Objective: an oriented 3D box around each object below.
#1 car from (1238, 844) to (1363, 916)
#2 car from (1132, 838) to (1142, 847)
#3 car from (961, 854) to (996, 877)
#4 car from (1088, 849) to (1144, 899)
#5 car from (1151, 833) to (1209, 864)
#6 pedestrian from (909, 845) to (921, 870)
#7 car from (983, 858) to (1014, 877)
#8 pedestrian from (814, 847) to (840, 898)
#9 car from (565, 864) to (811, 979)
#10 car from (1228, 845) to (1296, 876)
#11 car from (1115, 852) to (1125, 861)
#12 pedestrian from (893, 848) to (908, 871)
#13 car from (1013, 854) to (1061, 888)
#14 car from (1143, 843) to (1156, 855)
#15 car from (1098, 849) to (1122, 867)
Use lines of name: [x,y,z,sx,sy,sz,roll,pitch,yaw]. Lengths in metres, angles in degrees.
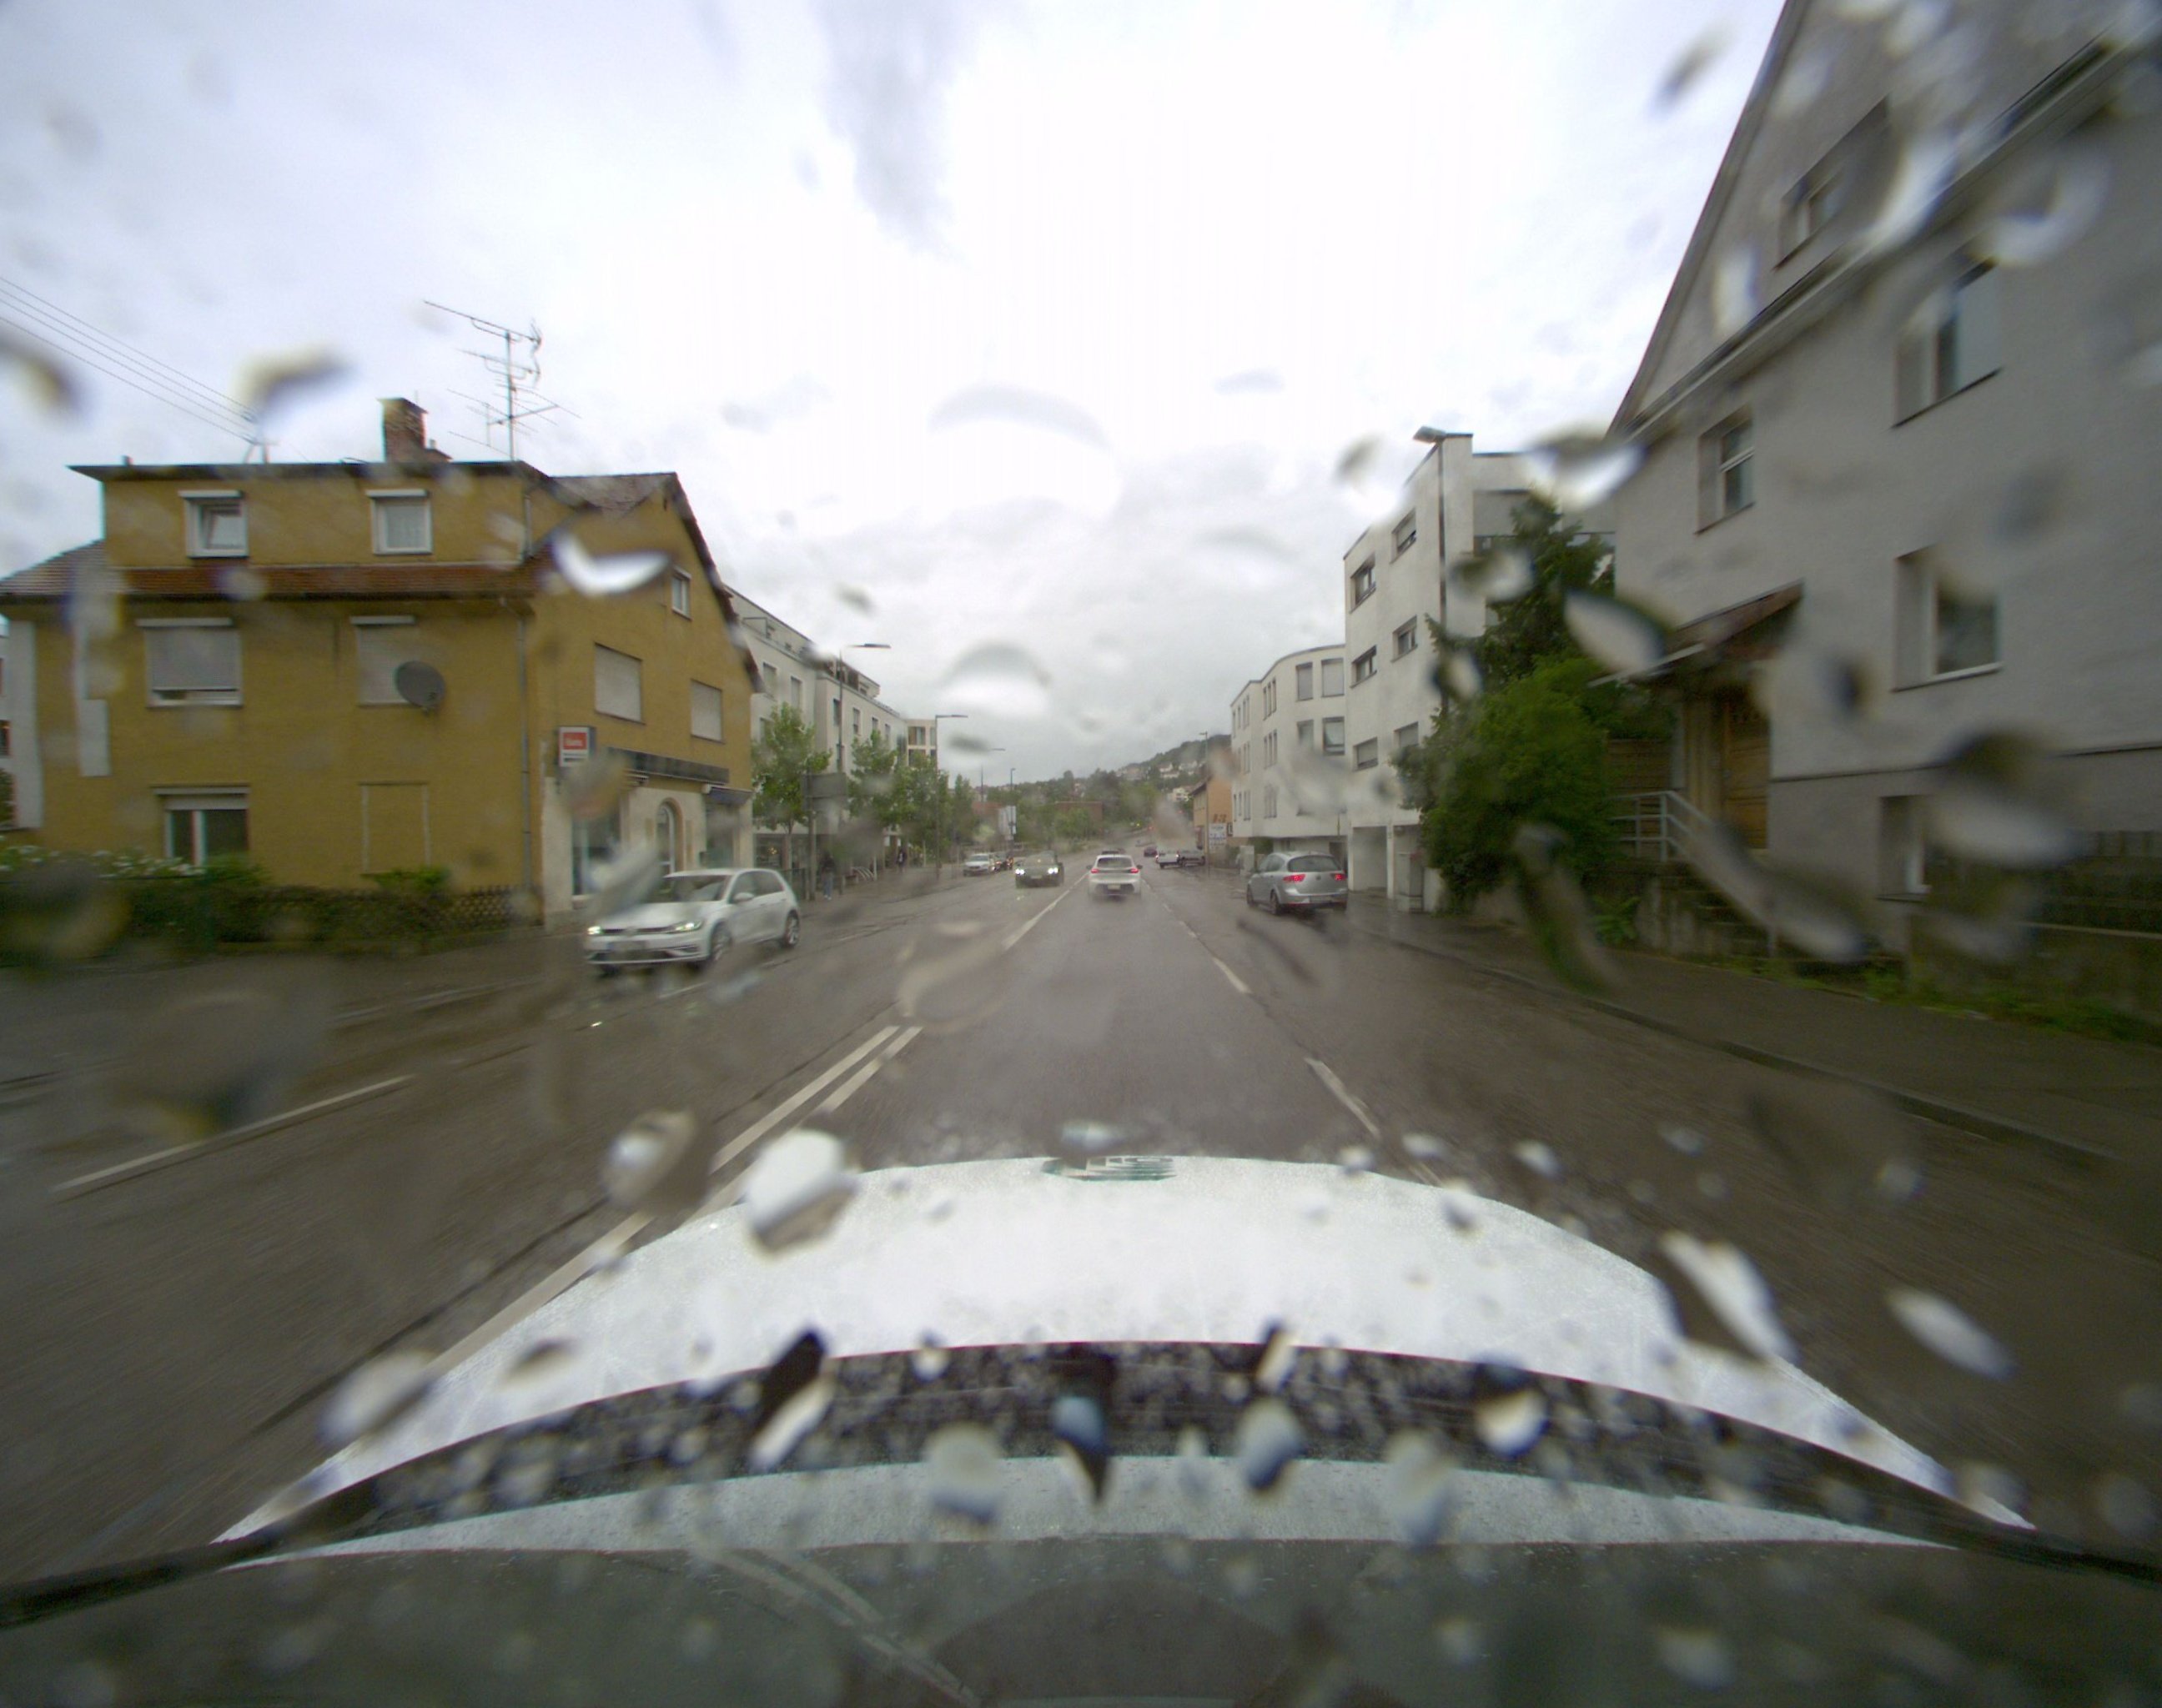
car: [5.464,0.661,20.890,2.005,1.622,4.359,-1,-2,0]
car: [11.572,-2.386,167.655,1.837,1.713,3.772,-2,-1,2]
car: [-6.955,0.759,55.632,1.789,1.462,4.478,-1,-1,1]
car: [1.139,0.639,27.148,1.685,1.519,3.934,-2,-1,1]
car: [8.236,-0.468,66.829,2.269,2.382,6.666,-2,-1,29]
pedestrian: [-14.598,0.318,71.671,0.742,2.145,0.774,-1,-1,15]
car: [-6.854,1.117,67.982,1.683,1.510,4.584,-2,-1,5]
pedestrian: [-9.153,0.671,29.304,0.803,1.788,0.876,-2,-1,-20]
car: [-5.945,0.926,12.963,1.642,1.417,4.142,-4,-1,3]
car: [11.207,0.390,50.601,3.778,1.529,1.821,5,1,1]
car: [5.074,0.312,105.946,1.209,1.156,2.270,-2,-1,0]
pedestrian: [-13.576,0.428,61.368,0.805,1.738,1.003,-2,-1,1]
car: [-1.959,0.758,37.370,1.761,1.413,4.527,-2,-1,2]
car: [9.963,-0.725,118.113,1.728,1.387,3.354,0,4,1]
car: [2.201,0.286,61.491,1.734,1.295,3.337,-2,0,3]
